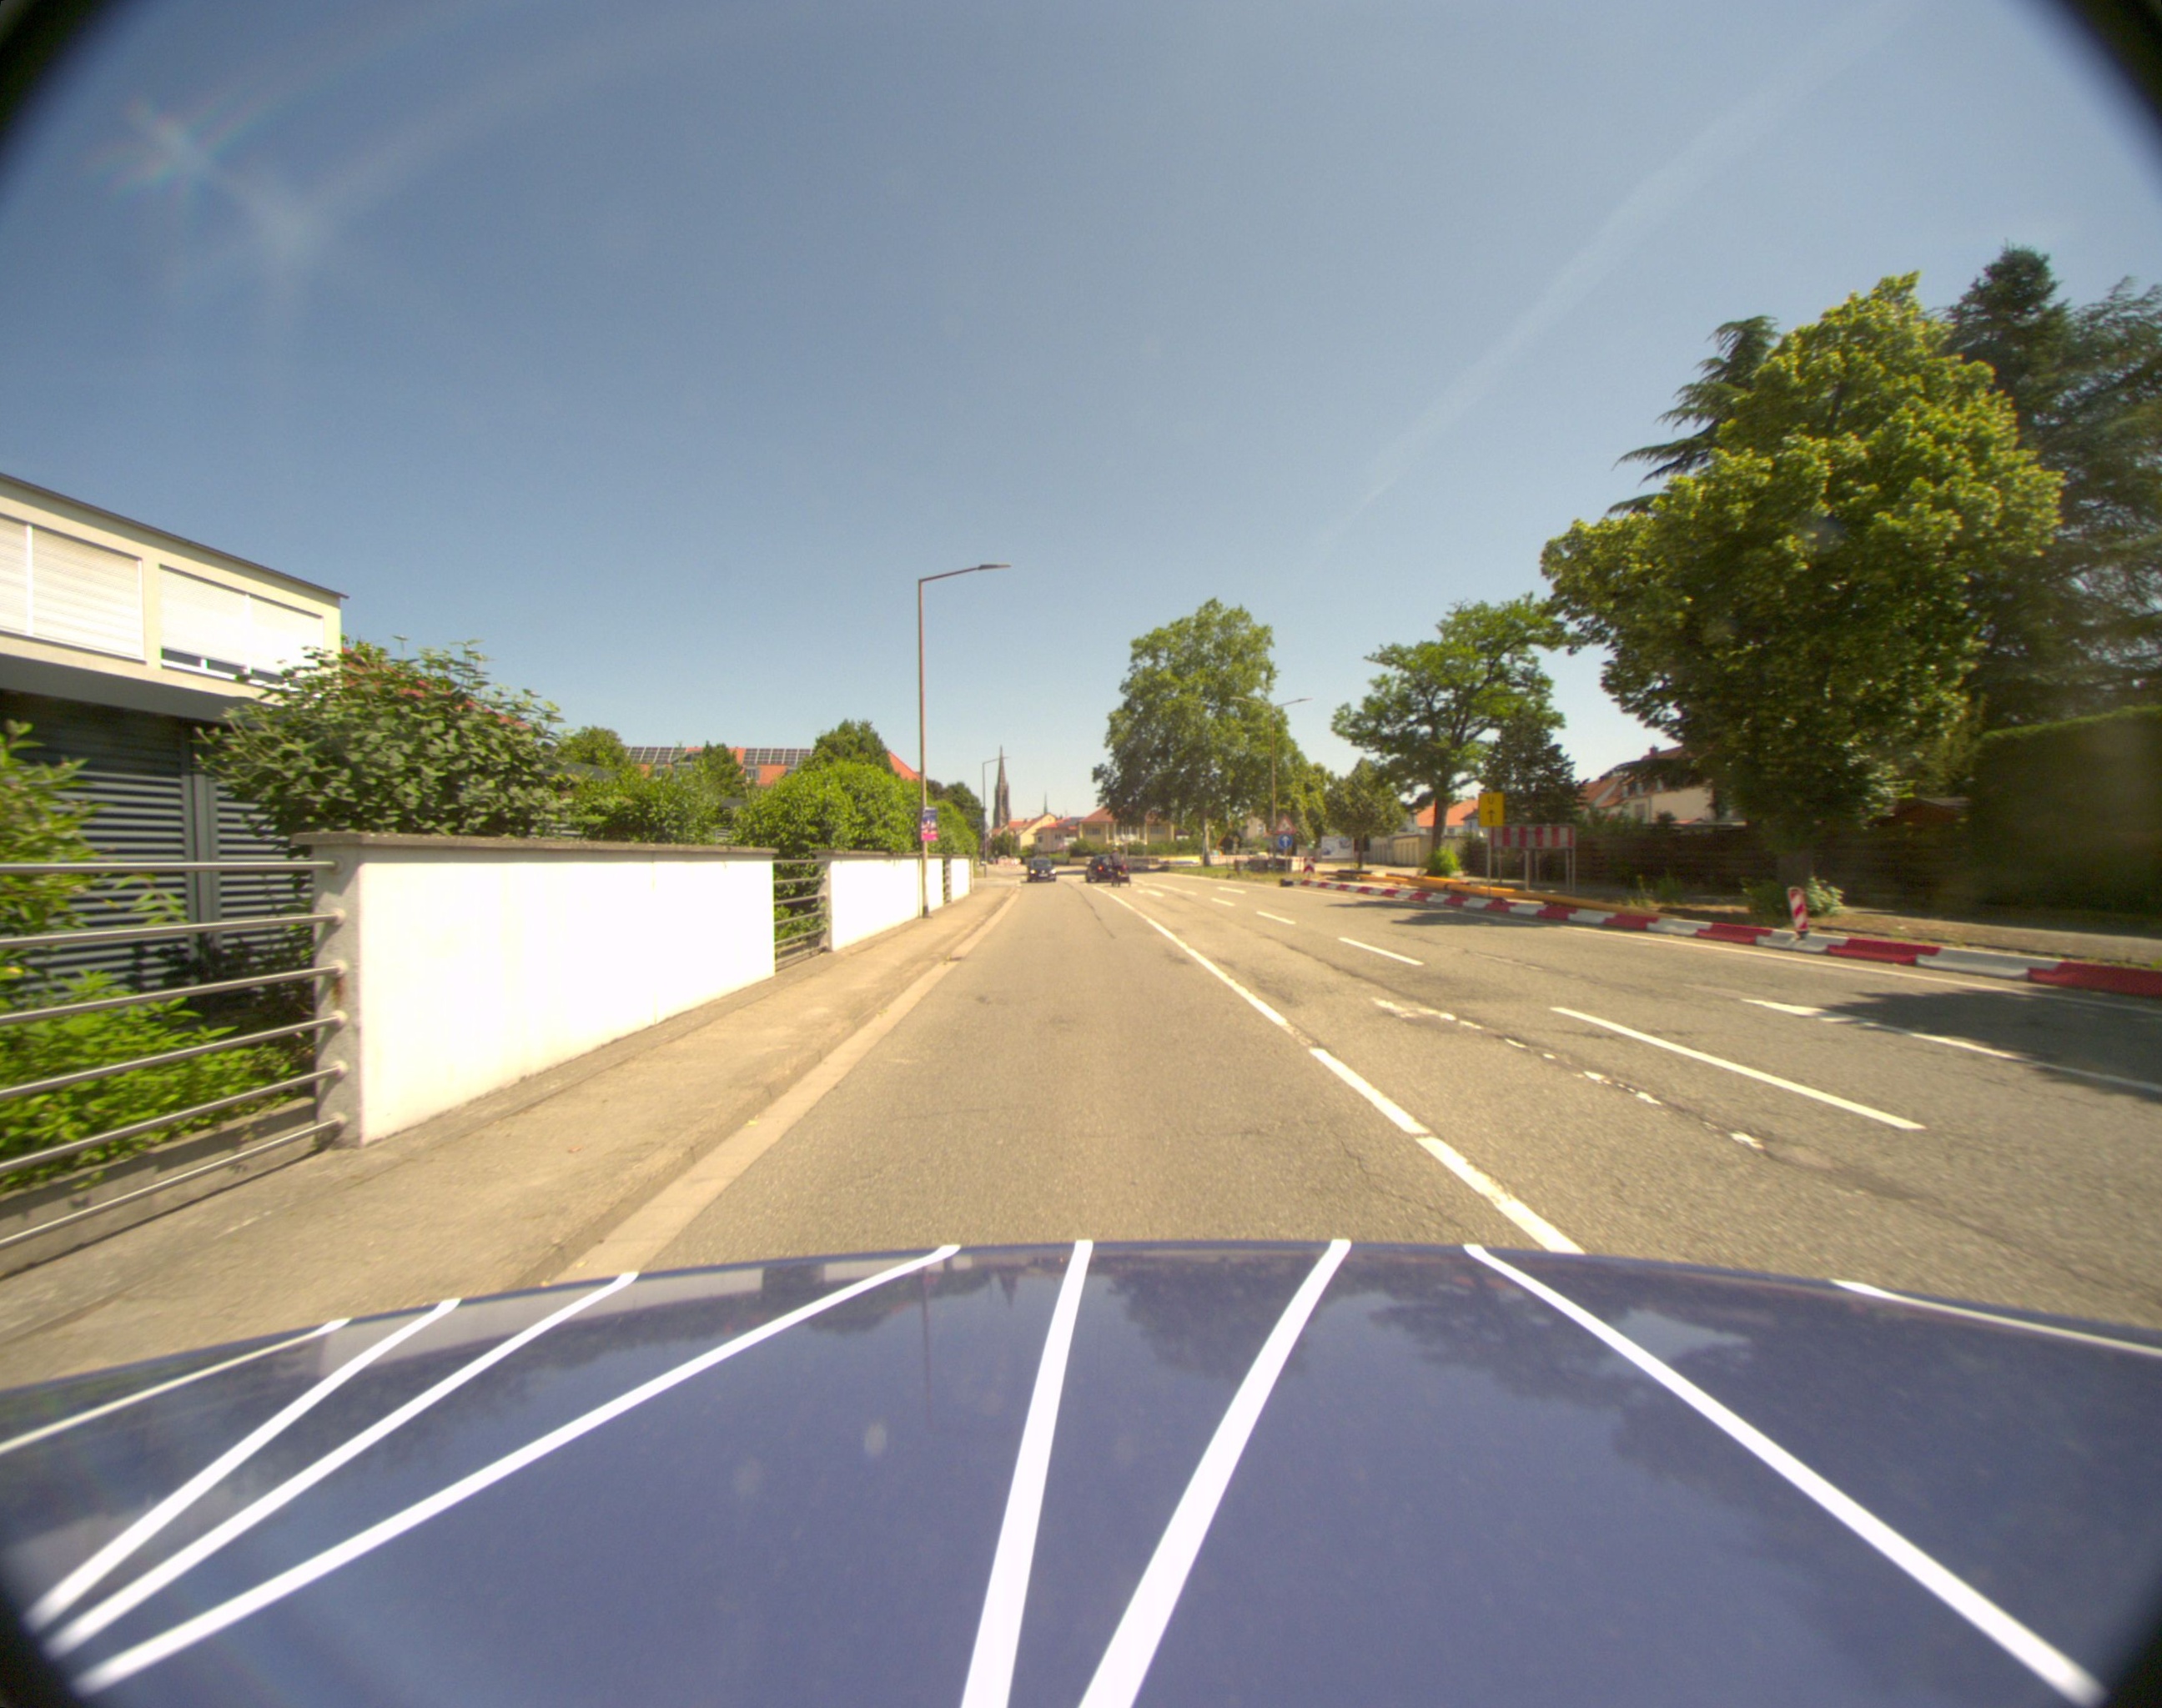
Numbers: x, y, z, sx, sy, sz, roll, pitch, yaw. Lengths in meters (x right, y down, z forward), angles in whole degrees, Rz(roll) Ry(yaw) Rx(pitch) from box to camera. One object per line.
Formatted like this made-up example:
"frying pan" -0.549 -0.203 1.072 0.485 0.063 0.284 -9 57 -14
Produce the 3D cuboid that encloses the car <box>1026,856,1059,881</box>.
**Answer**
"car" -2.417 0.862 47.081 1.608 1.436 3.906 -2 0 -9

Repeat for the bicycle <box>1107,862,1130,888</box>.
"bicycle" 1.848 1.029 37.648 0.853 1.159 1.976 -2 1 -5

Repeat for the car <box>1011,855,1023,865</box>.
"car" -11.049 1.018 131.830 1.704 1.501 3.455 -3 1 -10

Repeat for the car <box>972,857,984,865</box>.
"car" -19.360 1.282 142.473 1.713 1.449 3.559 -1 0 -14

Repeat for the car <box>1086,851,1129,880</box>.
"car" 1.480 0.617 43.634 1.731 1.523 3.827 -3 1 -8

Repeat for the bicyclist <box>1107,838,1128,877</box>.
"bicyclist" 1.816 0.174 37.672 0.848 1.855 0.976 -2 1 -5

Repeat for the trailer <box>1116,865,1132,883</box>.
"trailer" 2.049 0.942 36.100 0.572 0.851 1.132 -1 0 -5
